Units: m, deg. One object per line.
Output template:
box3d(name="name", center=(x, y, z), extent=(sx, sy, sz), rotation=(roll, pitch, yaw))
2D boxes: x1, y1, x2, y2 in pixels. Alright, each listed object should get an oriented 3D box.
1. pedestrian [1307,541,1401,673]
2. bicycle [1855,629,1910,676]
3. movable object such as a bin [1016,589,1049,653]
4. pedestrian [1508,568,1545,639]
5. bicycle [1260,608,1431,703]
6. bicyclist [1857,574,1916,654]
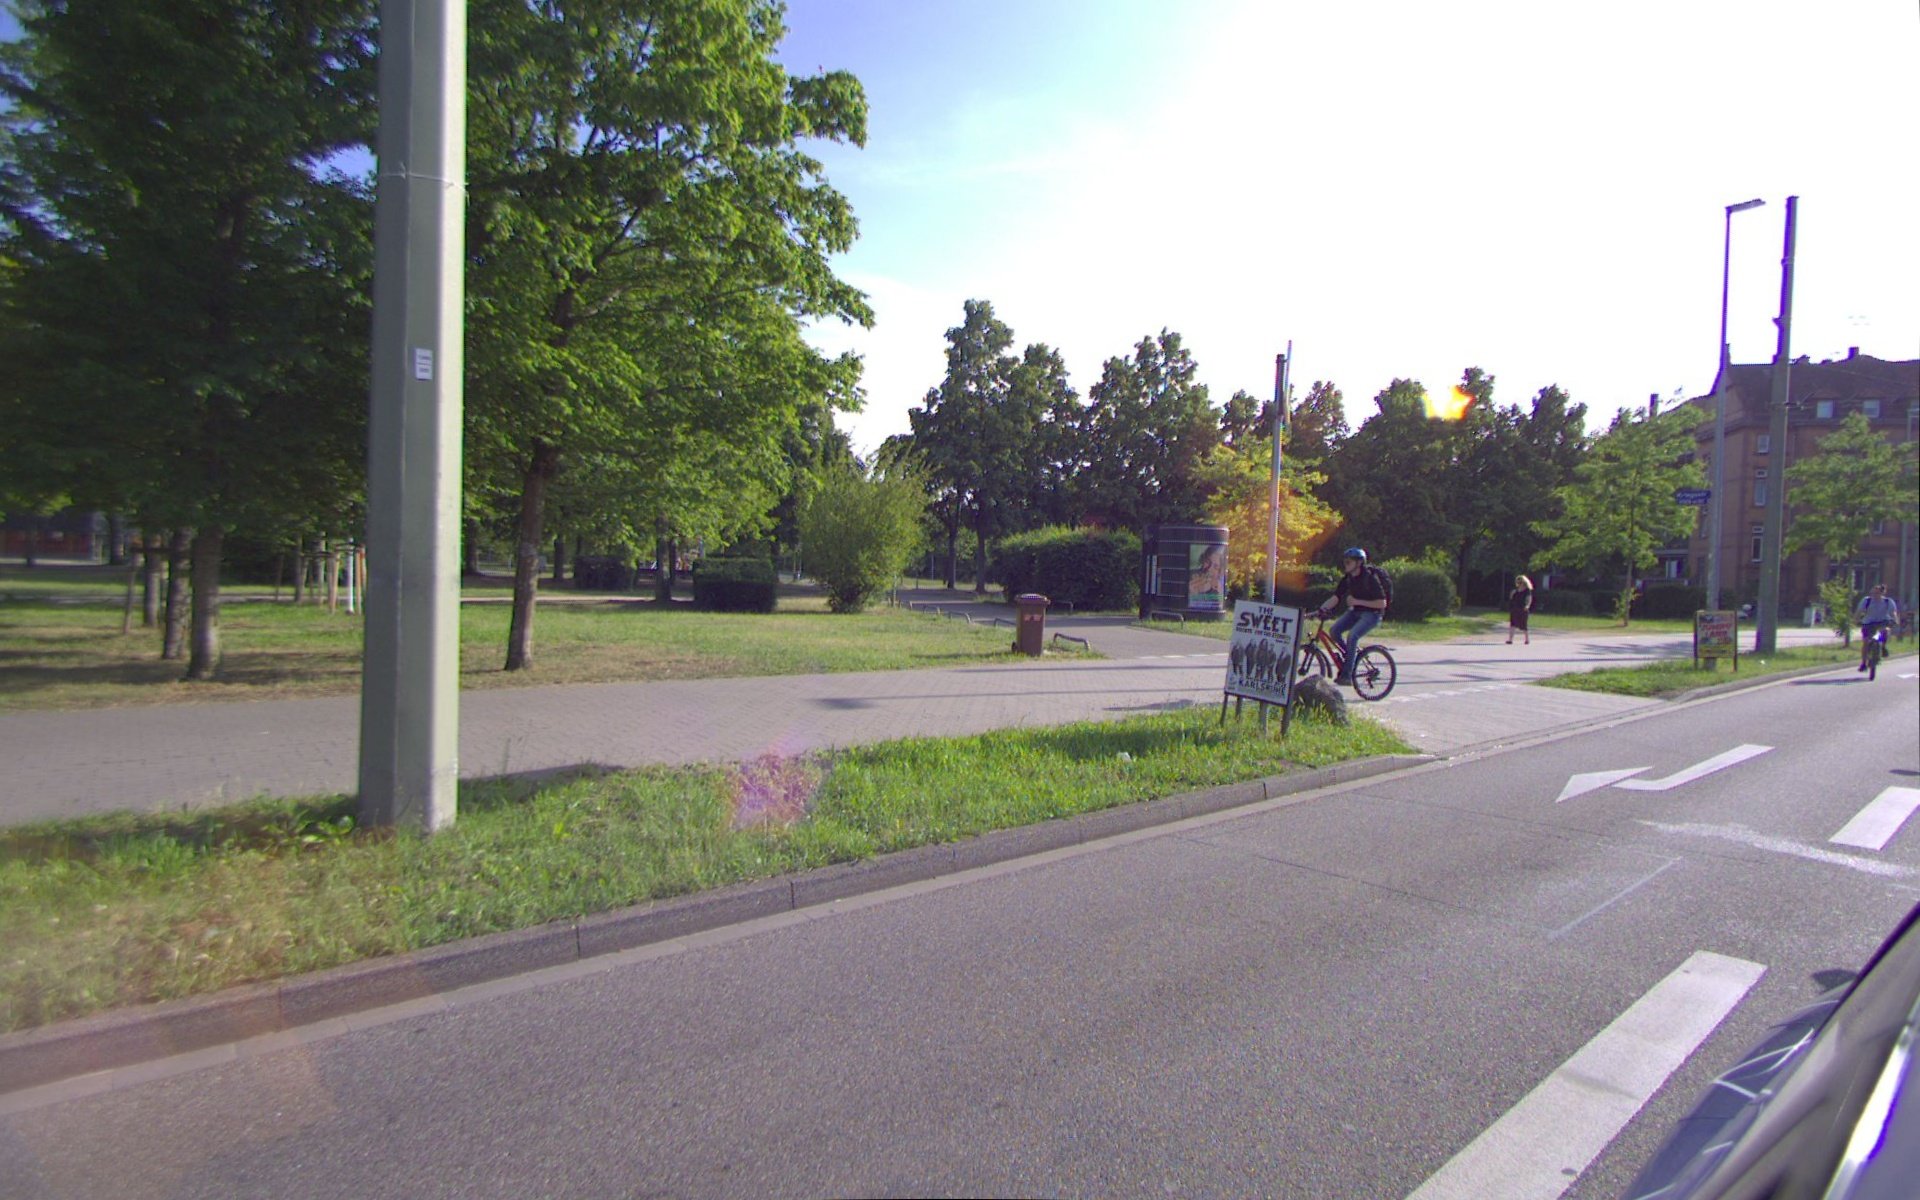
box3d(name="pedestrian", center=(4.738, 0.074, 12.192), extent=(0.827, 1.540, 0.639), rotation=(0, 0, -19))
box3d(name="bicycle", center=(17.889, 0.998, 19.610), extent=(2.006, 0.803, 0.567), rotation=(0, 2, -42))
box3d(name="movable object such as a bin", center=(1.101, 0.306, 15.444), extent=(0.447, 0.929, 0.605), rotation=(2, 2, 1))
box3d(name="pedestrian", center=(13.738, 0.083, 24.547), extent=(0.607, 1.706, 0.621), rotation=(1, 0, -40))
box3d(name="bicycle", center=(4.624, 0.636, 12.130), extent=(1.939, 1.059, 0.653), rotation=(0, 0, -19))
box3d(name="bicyclist", center=(17.969, 0.260, 19.620), extent=(1.092, 1.472, 0.688), rotation=(0, 2, -42))
